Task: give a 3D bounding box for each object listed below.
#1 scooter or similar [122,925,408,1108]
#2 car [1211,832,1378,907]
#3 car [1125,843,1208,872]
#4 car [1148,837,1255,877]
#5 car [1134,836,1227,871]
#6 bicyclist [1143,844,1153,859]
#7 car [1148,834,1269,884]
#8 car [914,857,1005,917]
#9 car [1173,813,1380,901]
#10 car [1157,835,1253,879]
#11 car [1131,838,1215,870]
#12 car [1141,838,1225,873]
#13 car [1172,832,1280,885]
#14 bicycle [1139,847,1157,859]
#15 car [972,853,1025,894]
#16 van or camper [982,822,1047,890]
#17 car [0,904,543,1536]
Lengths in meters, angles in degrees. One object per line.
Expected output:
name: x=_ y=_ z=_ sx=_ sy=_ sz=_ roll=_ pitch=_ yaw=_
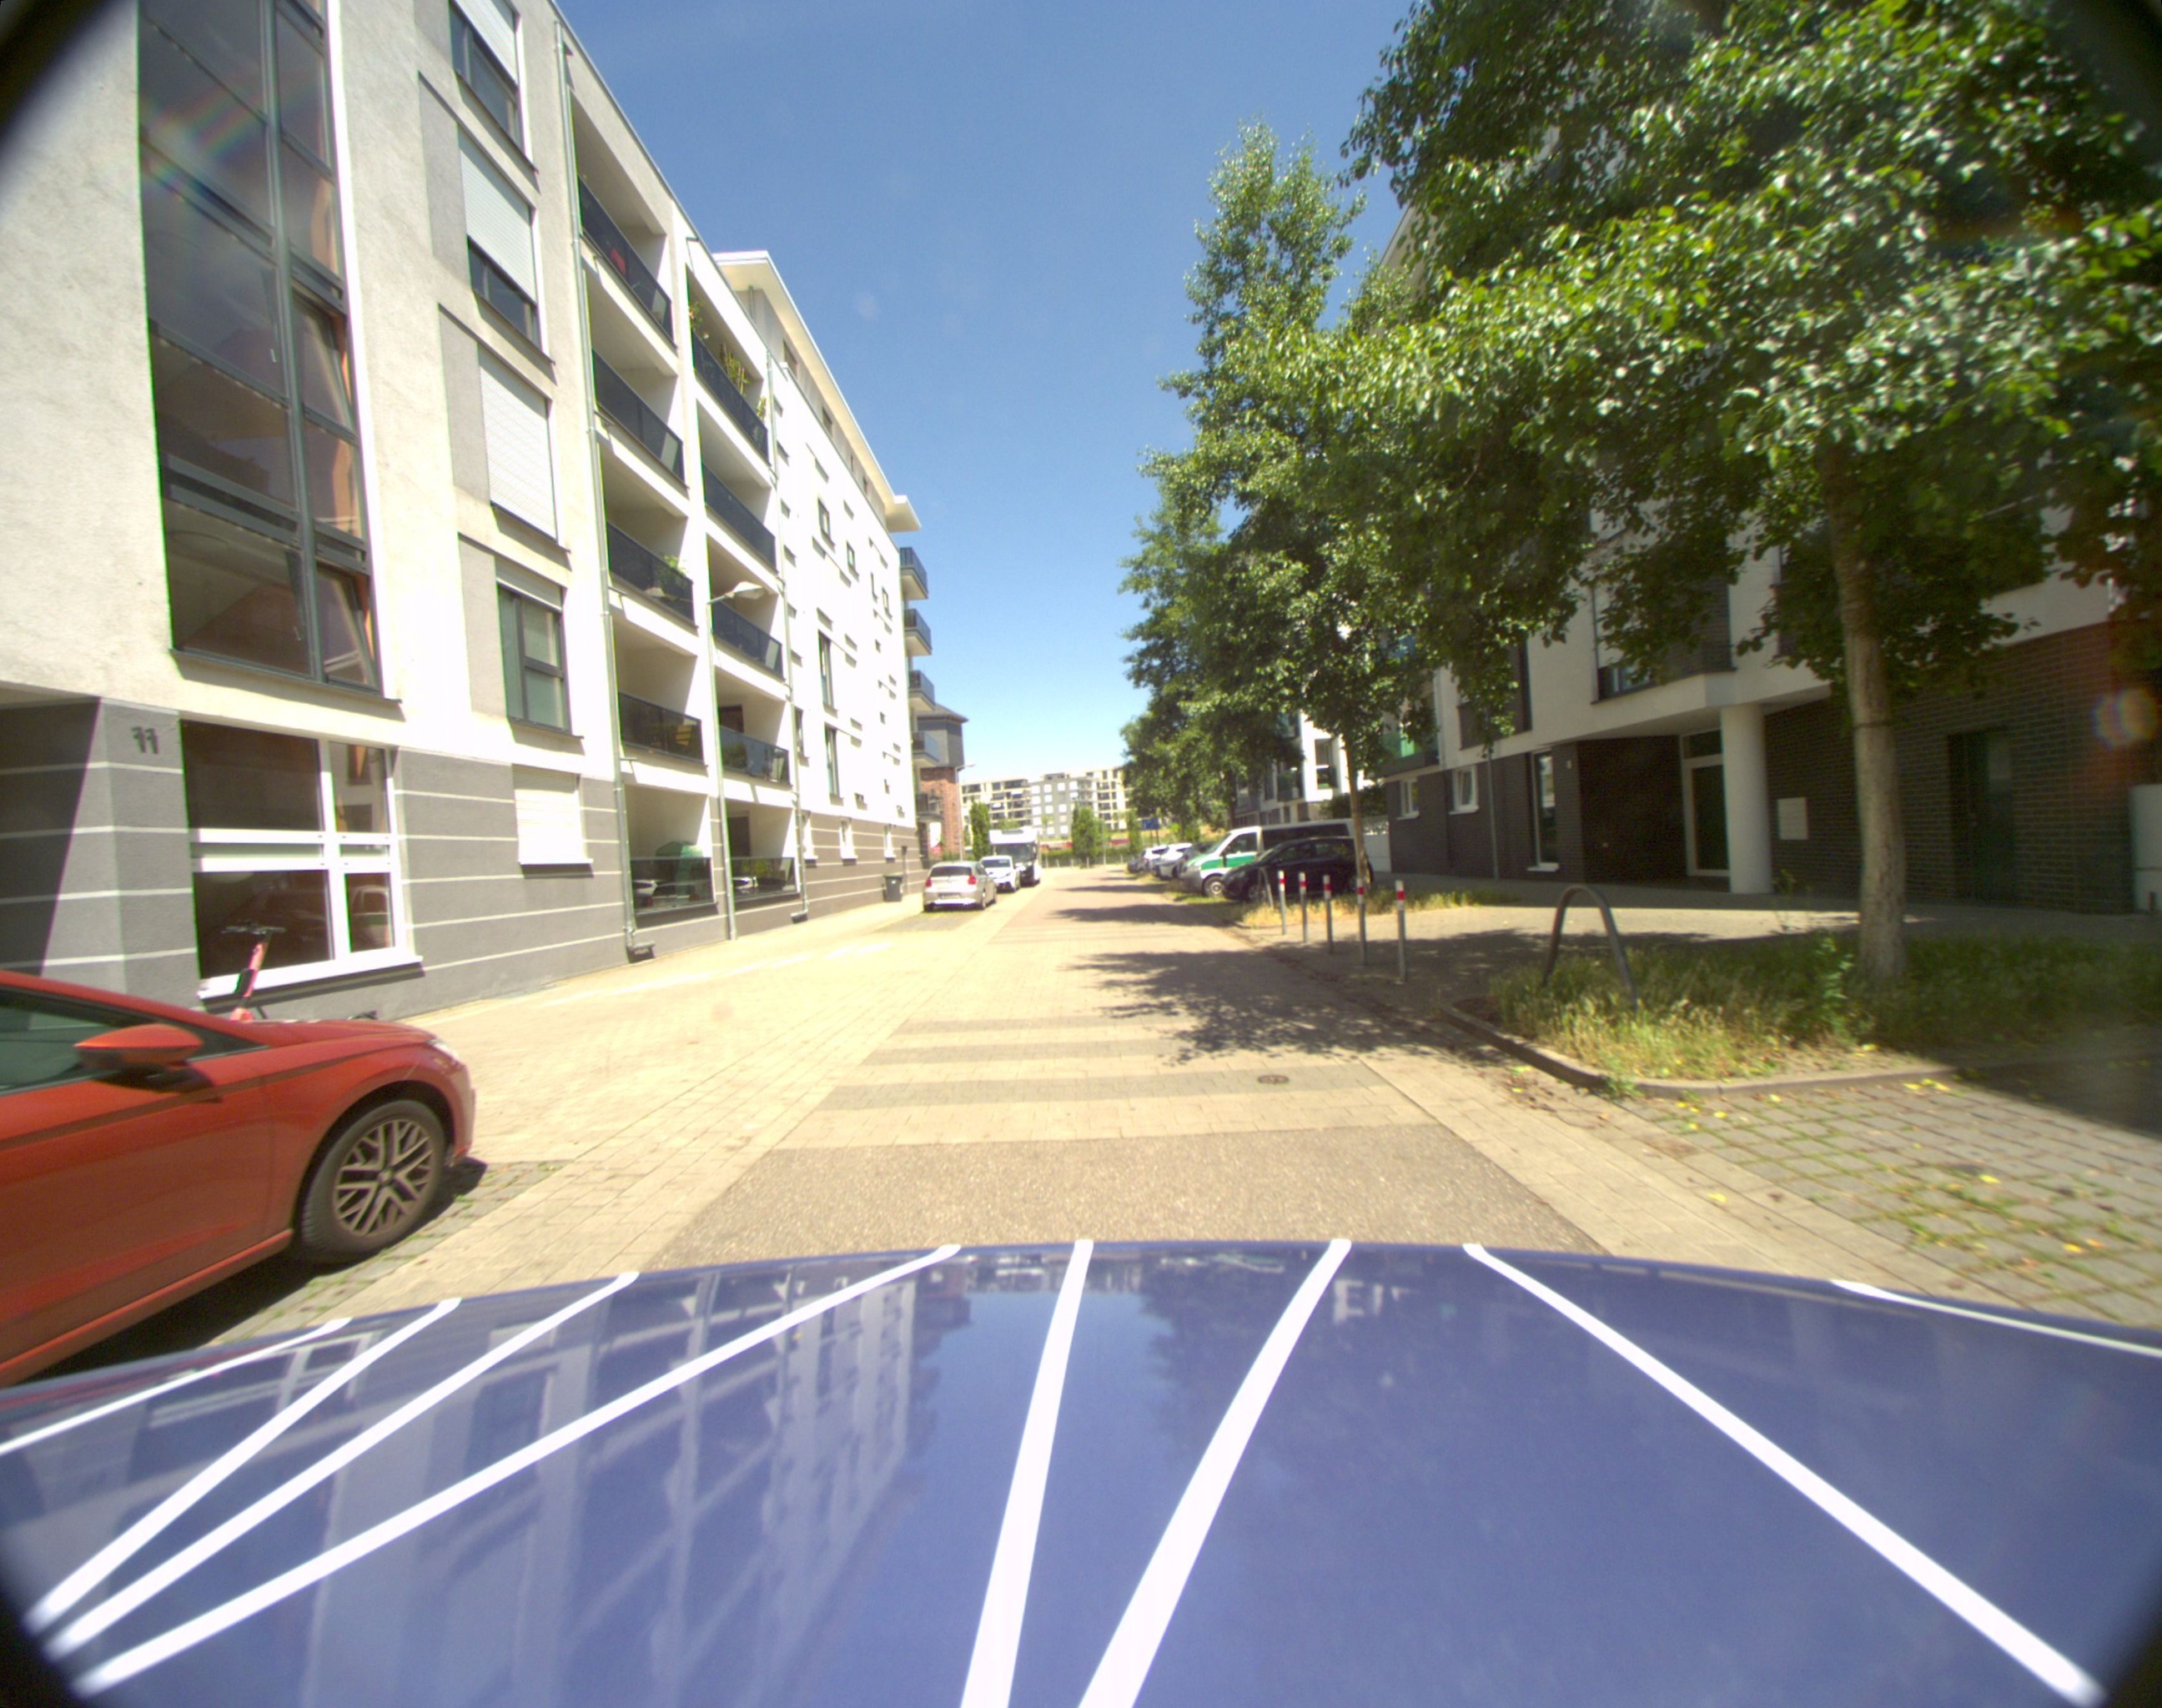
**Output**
scooter or similar: x=-6.940 y=1.328 z=6.582 sx=0.546 sy=1.218 sz=1.530 roll=-4 pitch=1 yaw=15
car: x=5.287 y=0.368 z=19.158 sx=3.632 sy=1.473 sz=1.678 roll=-5 pitch=1 yaw=0
car: x=5.573 y=0.222 z=49.762 sx=5.112 sy=1.476 sz=1.927 roll=-4 pitch=1 yaw=-2
car: x=5.818 y=0.147 z=37.199 sx=4.862 sy=1.448 sz=1.829 roll=-6 pitch=1 yaw=1
car: x=5.781 y=-0.025 z=44.696 sx=5.042 sy=1.623 sz=2.042 roll=-4 pitch=0 yaw=-2
bicyclist: x=6.946 y=-0.233 z=78.550 sx=0.734 sy=1.426 sz=0.659 roll=-5 pitch=1 yaw=-43
car: x=5.319 y=0.199 z=32.124 sx=4.571 sy=1.585 sz=1.965 roll=-6 pitch=1 yaw=-5
car: x=-3.529 y=0.911 z=22.927 sx=1.850 sy=1.408 sz=4.425 roll=-4 pitch=1 yaw=1
car: x=5.495 y=0.069 z=21.943 sx=5.355 sy=2.098 sz=2.187 roll=-3 pitch=1 yaw=2
car: x=5.606 y=0.113 z=34.753 sx=3.990 sy=1.620 sz=1.949 roll=-5 pitch=1 yaw=2
car: x=5.680 y=-0.005 z=47.112 sx=4.831 sy=1.441 sz=1.827 roll=-6 pitch=1 yaw=-2
car: x=5.595 y=0.087 z=41.979 sx=4.263 sy=1.522 sz=1.822 roll=-5 pitch=1 yaw=-3
car: x=5.554 y=0.176 z=29.484 sx=3.689 sy=1.666 sz=1.852 roll=-5 pitch=1 yaw=0
bicycle: x=6.936 y=-0.108 z=78.515 sx=0.592 sy=1.192 sz=1.937 roll=-5 pitch=1 yaw=-42
car: x=-3.391 y=0.759 z=31.938 sx=1.812 sy=1.496 sz=4.259 roll=-2 pitch=1 yaw=-2
van or camper: x=-3.165 y=0.028 z=38.211 sx=2.445 sy=2.889 sz=7.824 roll=-5 pitch=1 yaw=-1
car: x=-3.679 y=1.053 z=1.759 sx=1.742 sy=1.478 sz=4.258 roll=-2 pitch=1 yaw=0
